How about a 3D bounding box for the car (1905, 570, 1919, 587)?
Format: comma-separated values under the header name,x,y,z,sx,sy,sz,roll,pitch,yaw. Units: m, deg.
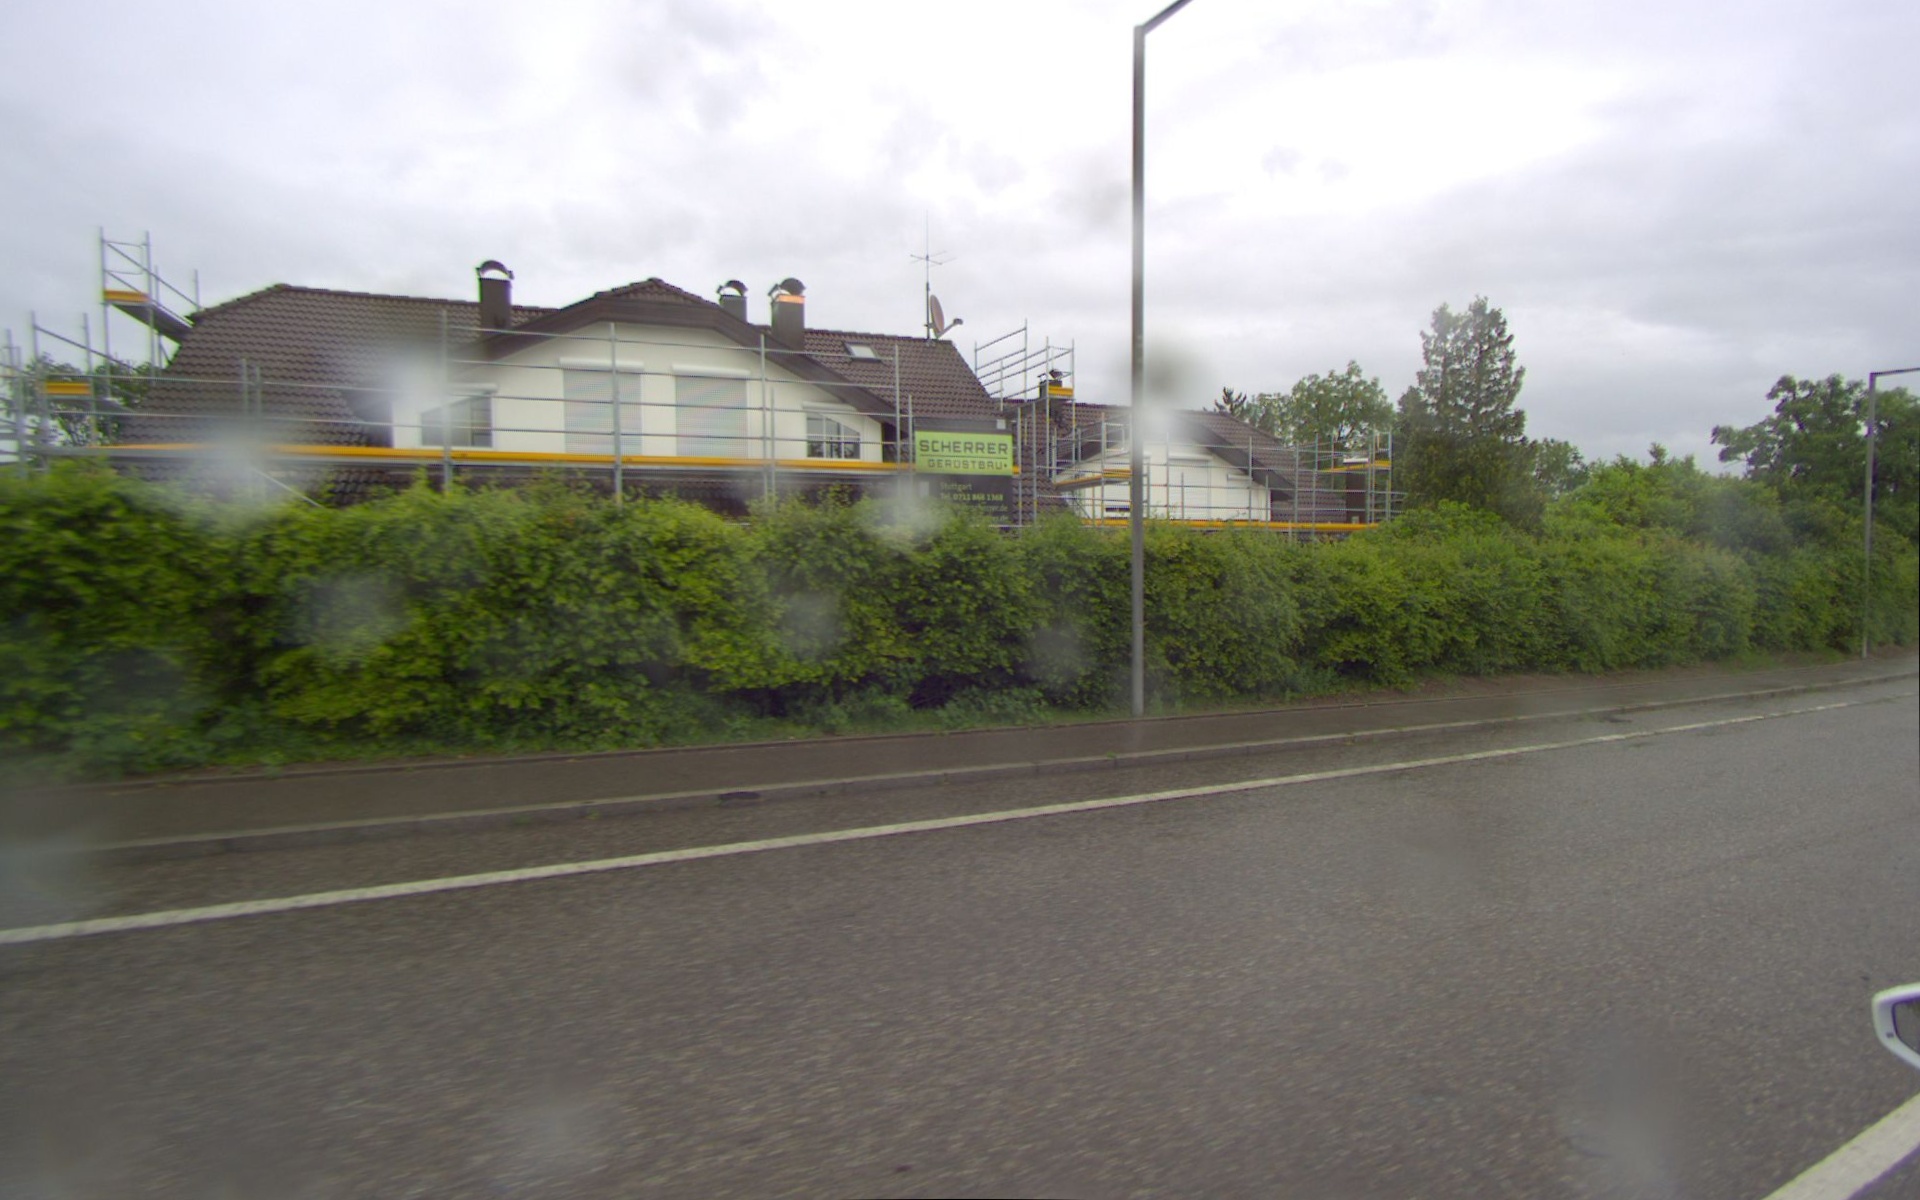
name,x,y,z,sx,sy,sz,roll,pitch,yaw
car,98.567,-2.171,103.197,1.667,1.642,3.880,1,1,37
